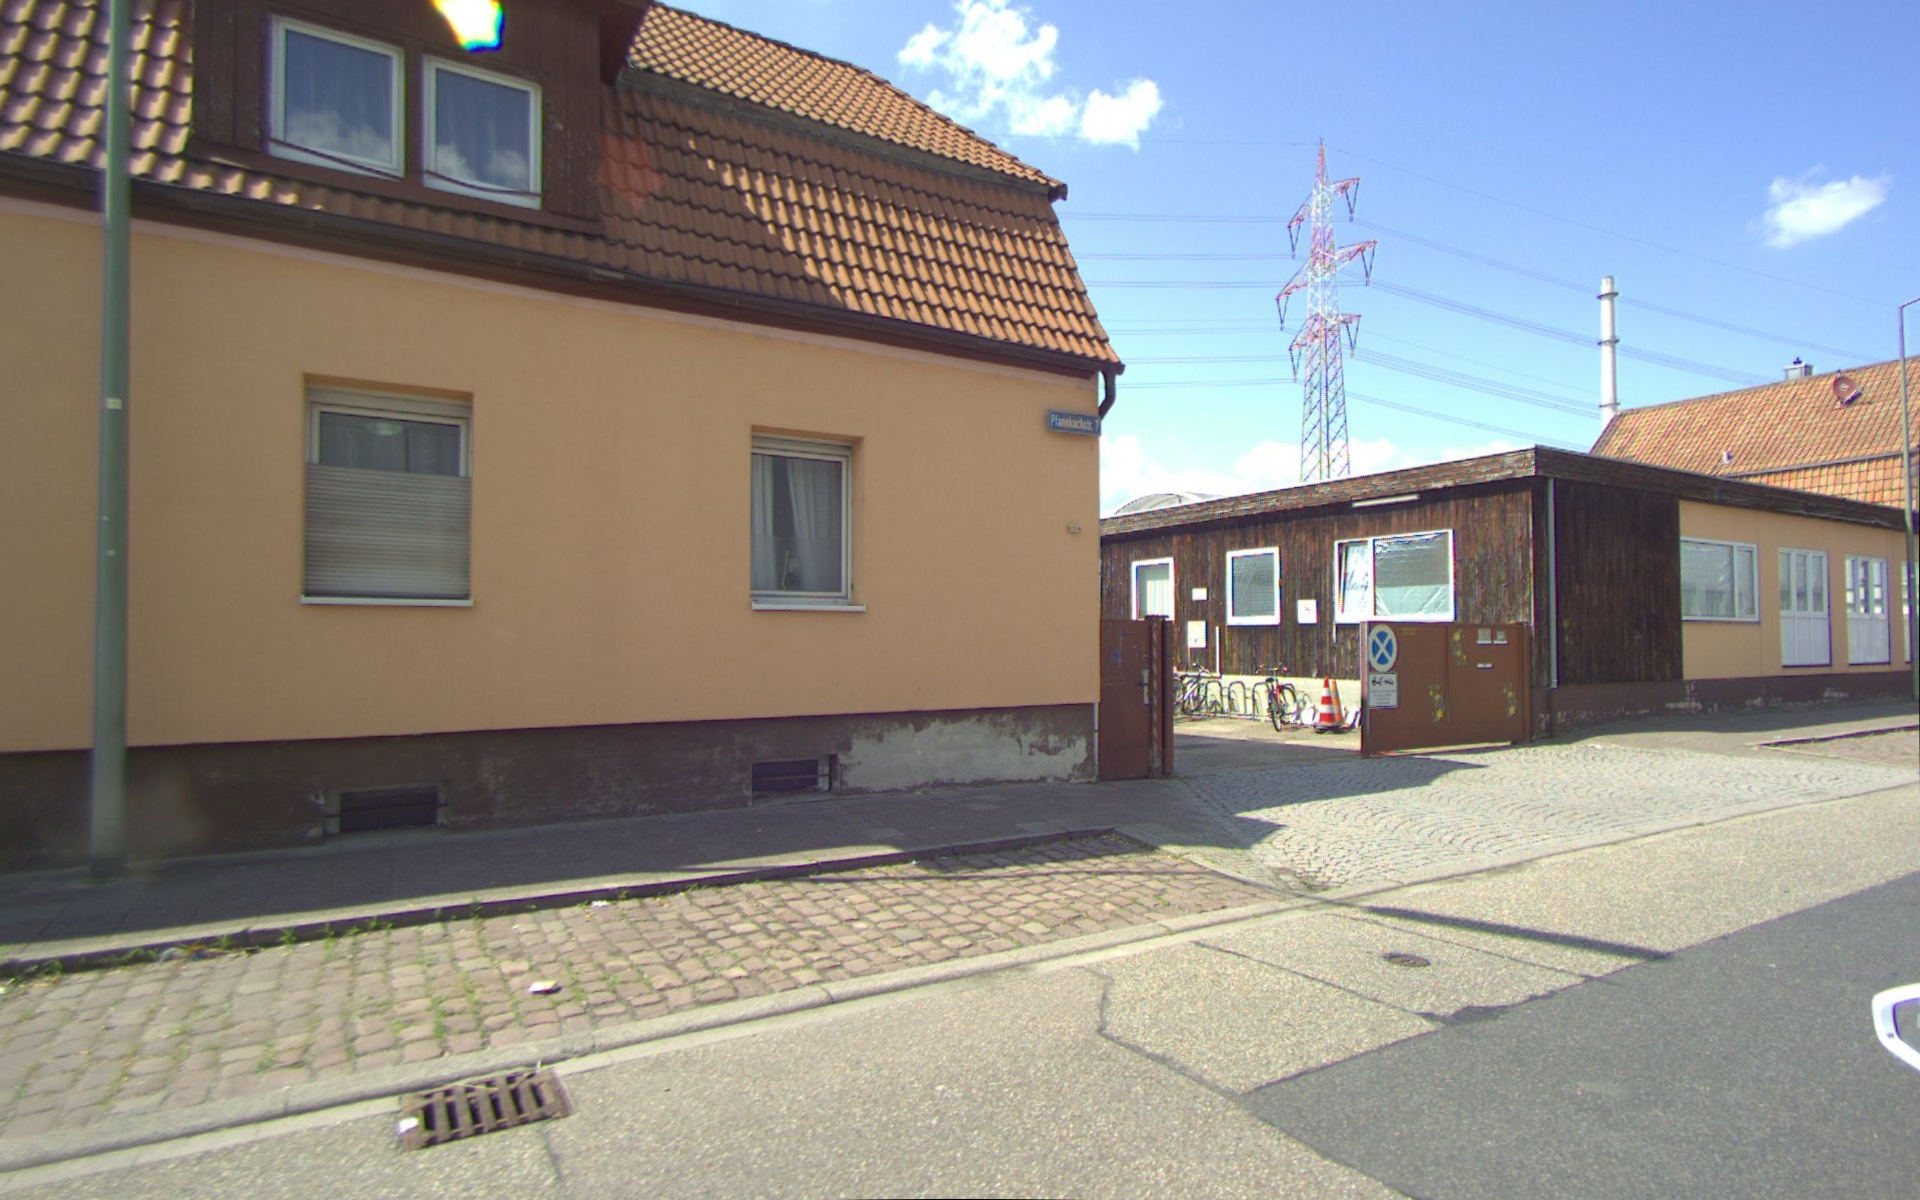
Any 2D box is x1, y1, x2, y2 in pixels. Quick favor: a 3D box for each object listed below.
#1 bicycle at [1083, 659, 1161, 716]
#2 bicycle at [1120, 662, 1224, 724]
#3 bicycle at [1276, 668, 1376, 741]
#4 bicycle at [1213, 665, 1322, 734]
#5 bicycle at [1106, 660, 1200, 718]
[{"bbox_3d":[3.328,1.779,20.625,1.705,1.009,0.498,-1,1,-34],"label":"bicycle"},{"bbox_3d":[4.022,1.731,18.987,2.122,0.968,0.625,-1,1,-34],"label":"bicycle"},{"bbox_3d":[5.921,1.653,16.179,1.956,0.968,0.623,-1,0,-40],"label":"bicycle"},{"bbox_3d":[5.206,1.657,16.962,2.031,0.968,0.625,-1,0,-34],"label":"bicycle"},{"bbox_3d":[3.807,1.734,19.752,2.025,0.965,0.545,-1,1,-34],"label":"bicycle"}]
